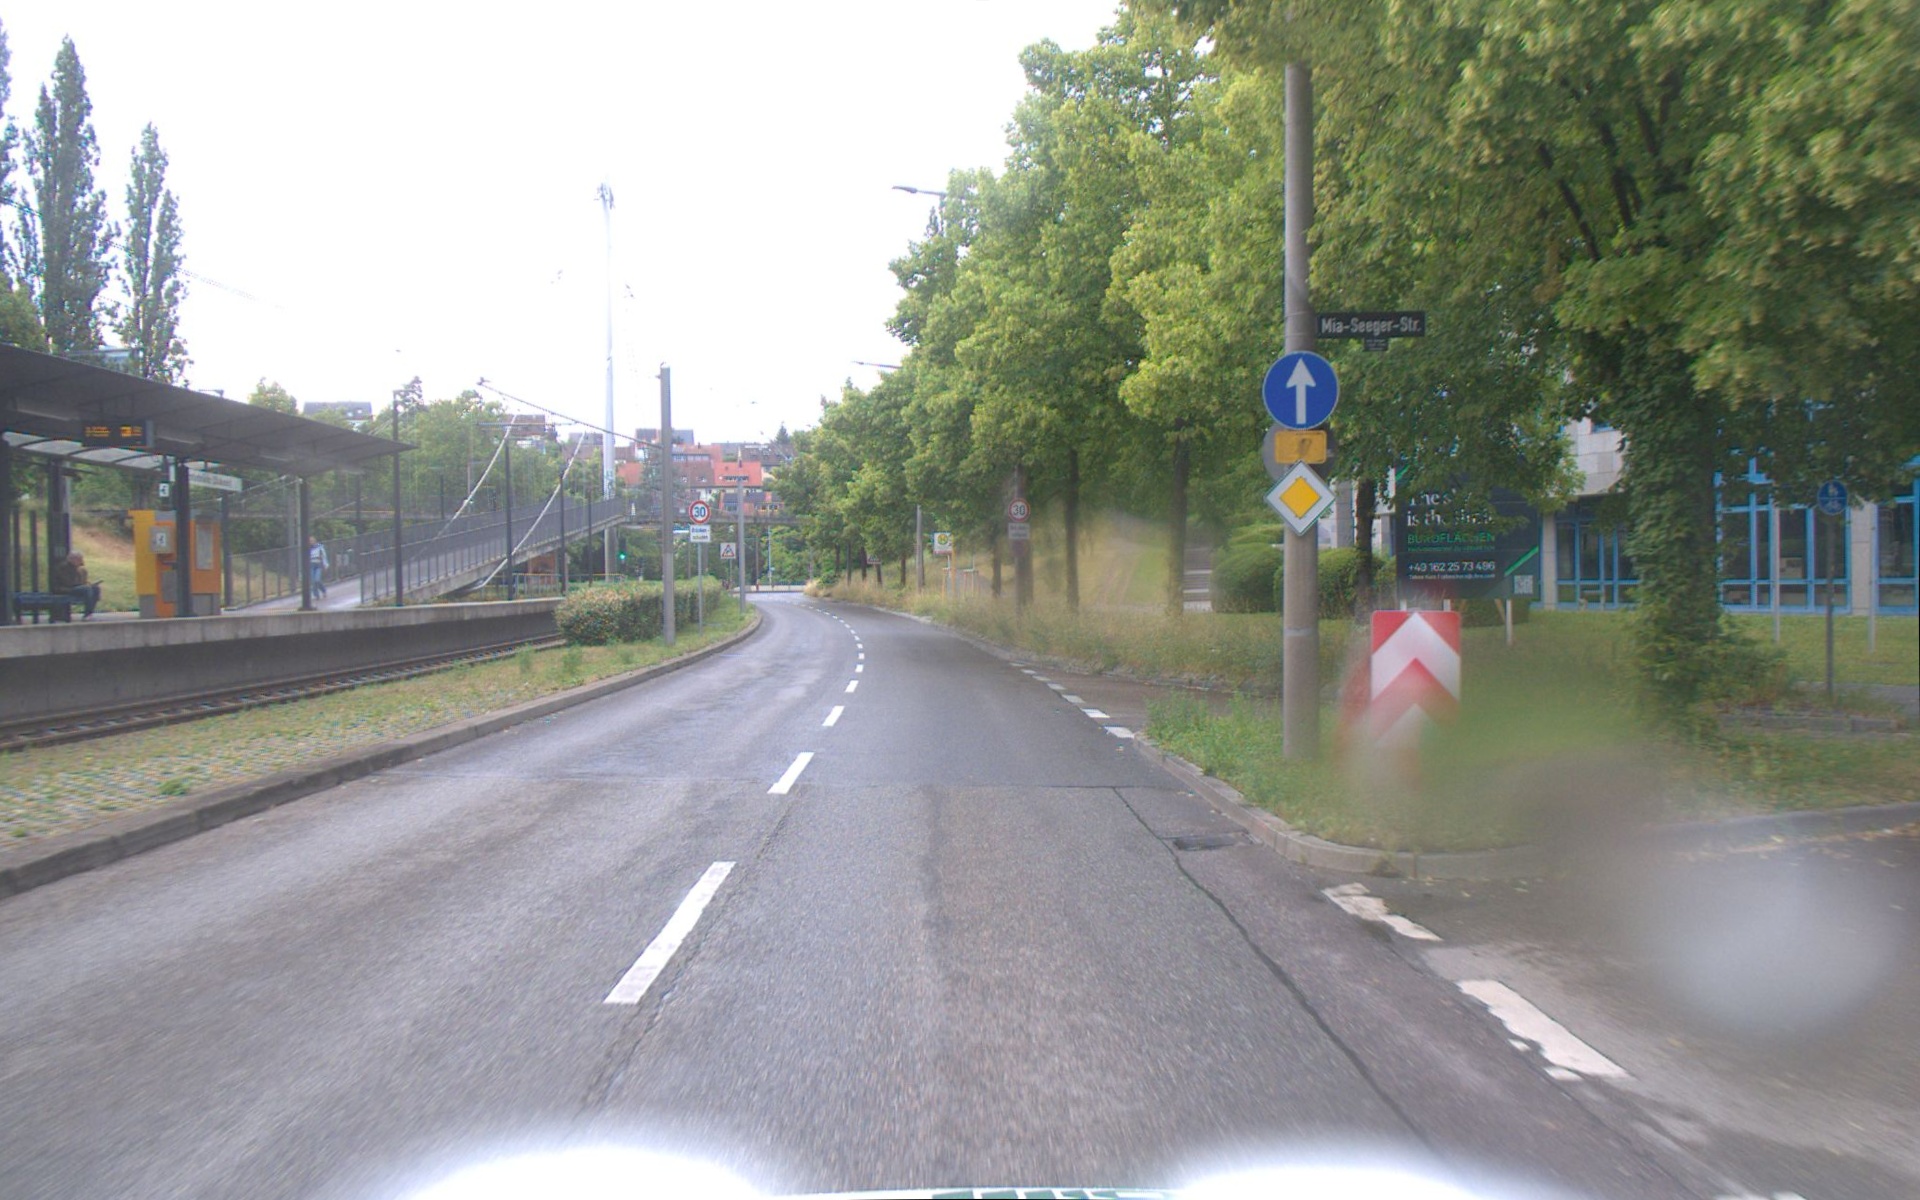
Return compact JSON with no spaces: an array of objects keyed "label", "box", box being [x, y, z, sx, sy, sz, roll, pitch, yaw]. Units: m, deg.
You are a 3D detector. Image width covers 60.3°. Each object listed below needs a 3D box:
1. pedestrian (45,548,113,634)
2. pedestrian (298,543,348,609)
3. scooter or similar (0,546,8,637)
[{"label":"pedestrian","box":[-14.200,-0.142,26.670,0.738,1.379,0.691,0,0,-5]},{"label":"pedestrian","box":[-15.898,-0.595,41.307,0.917,1.639,1.026,0,0,-5]},{"label":"scooter or similar","box":[-13.665,-0.123,22.955,1.277,1.239,0.377,0,-2,42]}]
